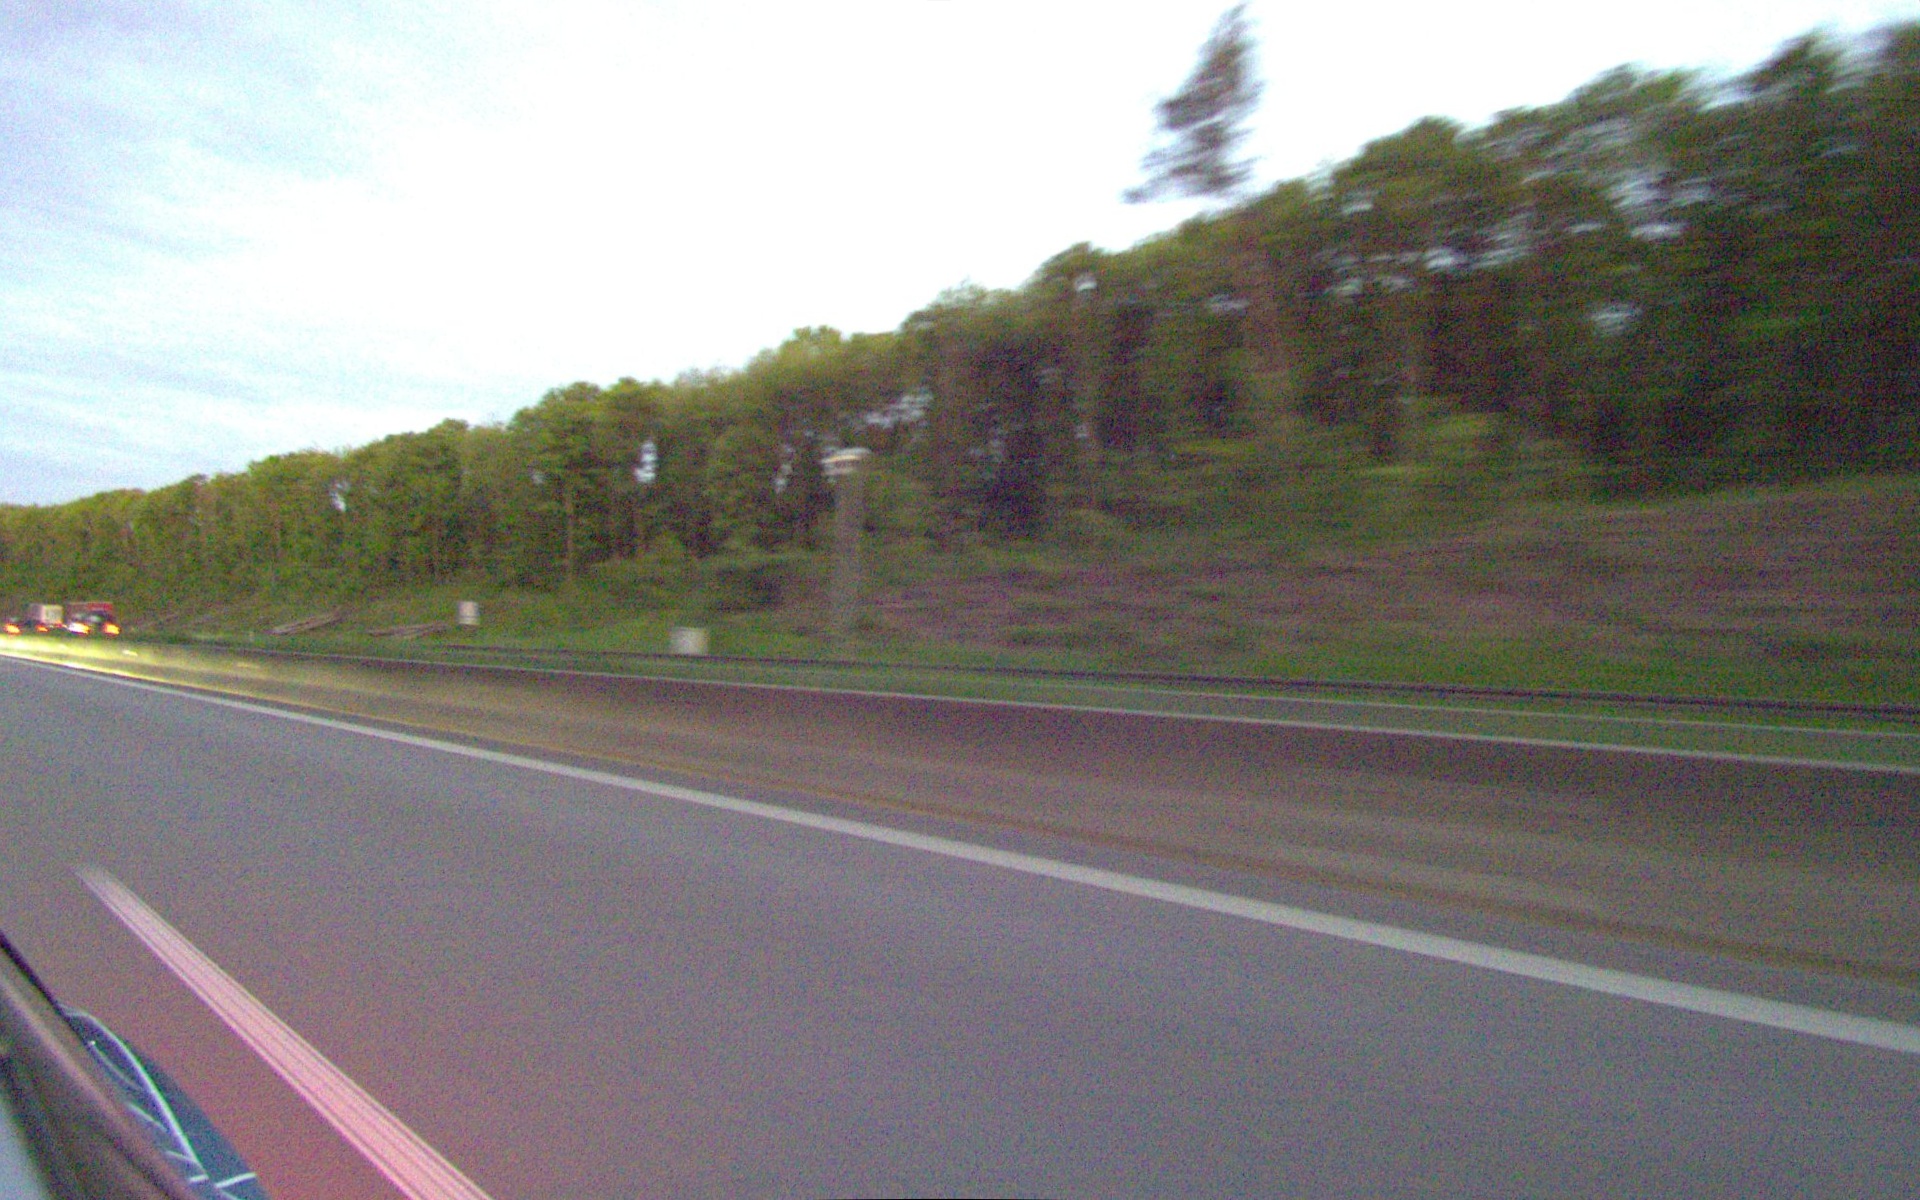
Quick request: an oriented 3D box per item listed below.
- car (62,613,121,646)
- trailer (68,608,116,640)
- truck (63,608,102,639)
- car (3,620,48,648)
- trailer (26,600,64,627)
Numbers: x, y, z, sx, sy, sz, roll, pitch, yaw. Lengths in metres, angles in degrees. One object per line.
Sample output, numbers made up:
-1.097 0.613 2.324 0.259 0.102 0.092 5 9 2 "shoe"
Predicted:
-67.943 2.324 79.120 7.513 2.503 2.289 -1 -3 40 "car"
-116.619 3.128 135.815 14.180 4.136 3.157 0 -1 42 "trailer"
-121.294 3.183 139.879 7.688 4.136 3.157 0 -1 42 "truck"
-70.706 2.595 76.554 5.358 2.029 1.972 -2 -3 42 "car"
-147.111 2.087 162.628 13.736 4.136 3.157 0 -1 42 "trailer"
